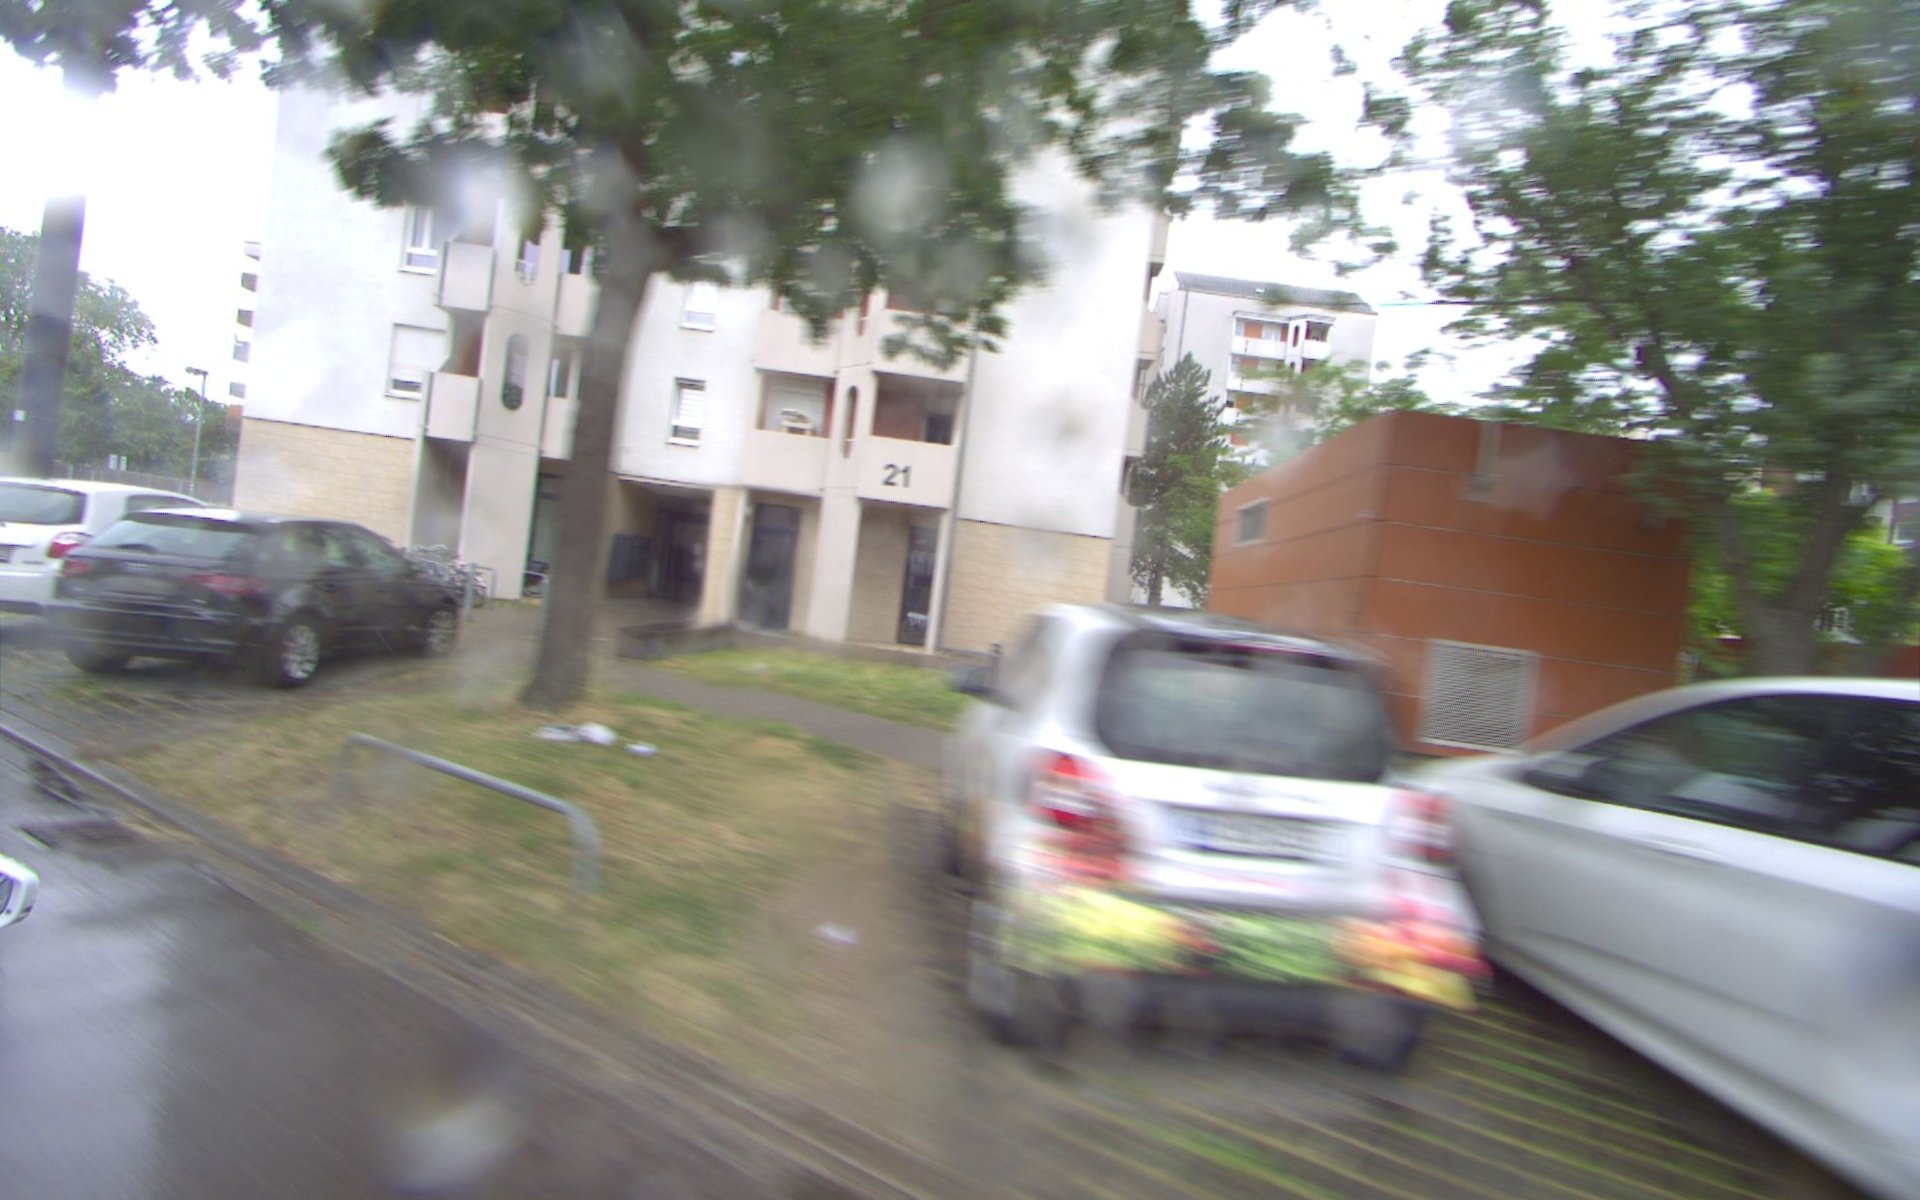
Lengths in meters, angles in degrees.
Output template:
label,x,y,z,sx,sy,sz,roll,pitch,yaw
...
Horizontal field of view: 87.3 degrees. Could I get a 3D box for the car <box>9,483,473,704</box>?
label,x,y,z,sx,sy,sz,roll,pitch,yaw
car,-6.296,-0.136,9.445,1.655,1.451,3.937,7,3,-5

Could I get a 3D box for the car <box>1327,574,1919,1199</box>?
label,x,y,z,sx,sy,sz,roll,pitch,yaw
car,3.252,0.935,3.386,1.781,1.694,4.450,7,3,-7

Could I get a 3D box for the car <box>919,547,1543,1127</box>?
label,x,y,z,sx,sy,sz,roll,pitch,yaw
car,0.770,0.672,5.238,1.654,1.694,4.177,7,3,-5

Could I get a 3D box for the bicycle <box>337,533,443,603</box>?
label,x,y,z,sx,sy,sz,roll,pitch,yaw
bicycle,-10.041,-0.570,17.701,2.024,1.018,0.662,6,-1,33

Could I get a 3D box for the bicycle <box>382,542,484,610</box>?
label,x,y,z,sx,sy,sz,roll,pitch,yaw
bicycle,-9.642,-0.451,18.379,2.024,1.018,0.662,6,-1,33

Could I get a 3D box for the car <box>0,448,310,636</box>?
label,x,y,z,sx,sy,sz,roll,pitch,yaw
car,-9.038,-0.684,10.785,1.735,1.569,4.175,7,3,-8

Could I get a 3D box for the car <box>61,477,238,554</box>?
label,x,y,z,sx,sy,sz,roll,pitch,yaw
car,-24.703,-2.514,30.881,1.781,1.635,4.115,8,-1,2

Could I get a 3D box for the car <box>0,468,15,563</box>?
label,x,y,z,sx,sy,sz,roll,pitch,yaw
car,-16.650,-1.488,15.616,1.575,1.567,2.561,7,0,-8

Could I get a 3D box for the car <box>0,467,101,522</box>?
label,x,y,z,sx,sy,sz,roll,pitch,yaw
car,-32.677,-3.778,34.968,3.924,1.458,2.002,7,-1,5
